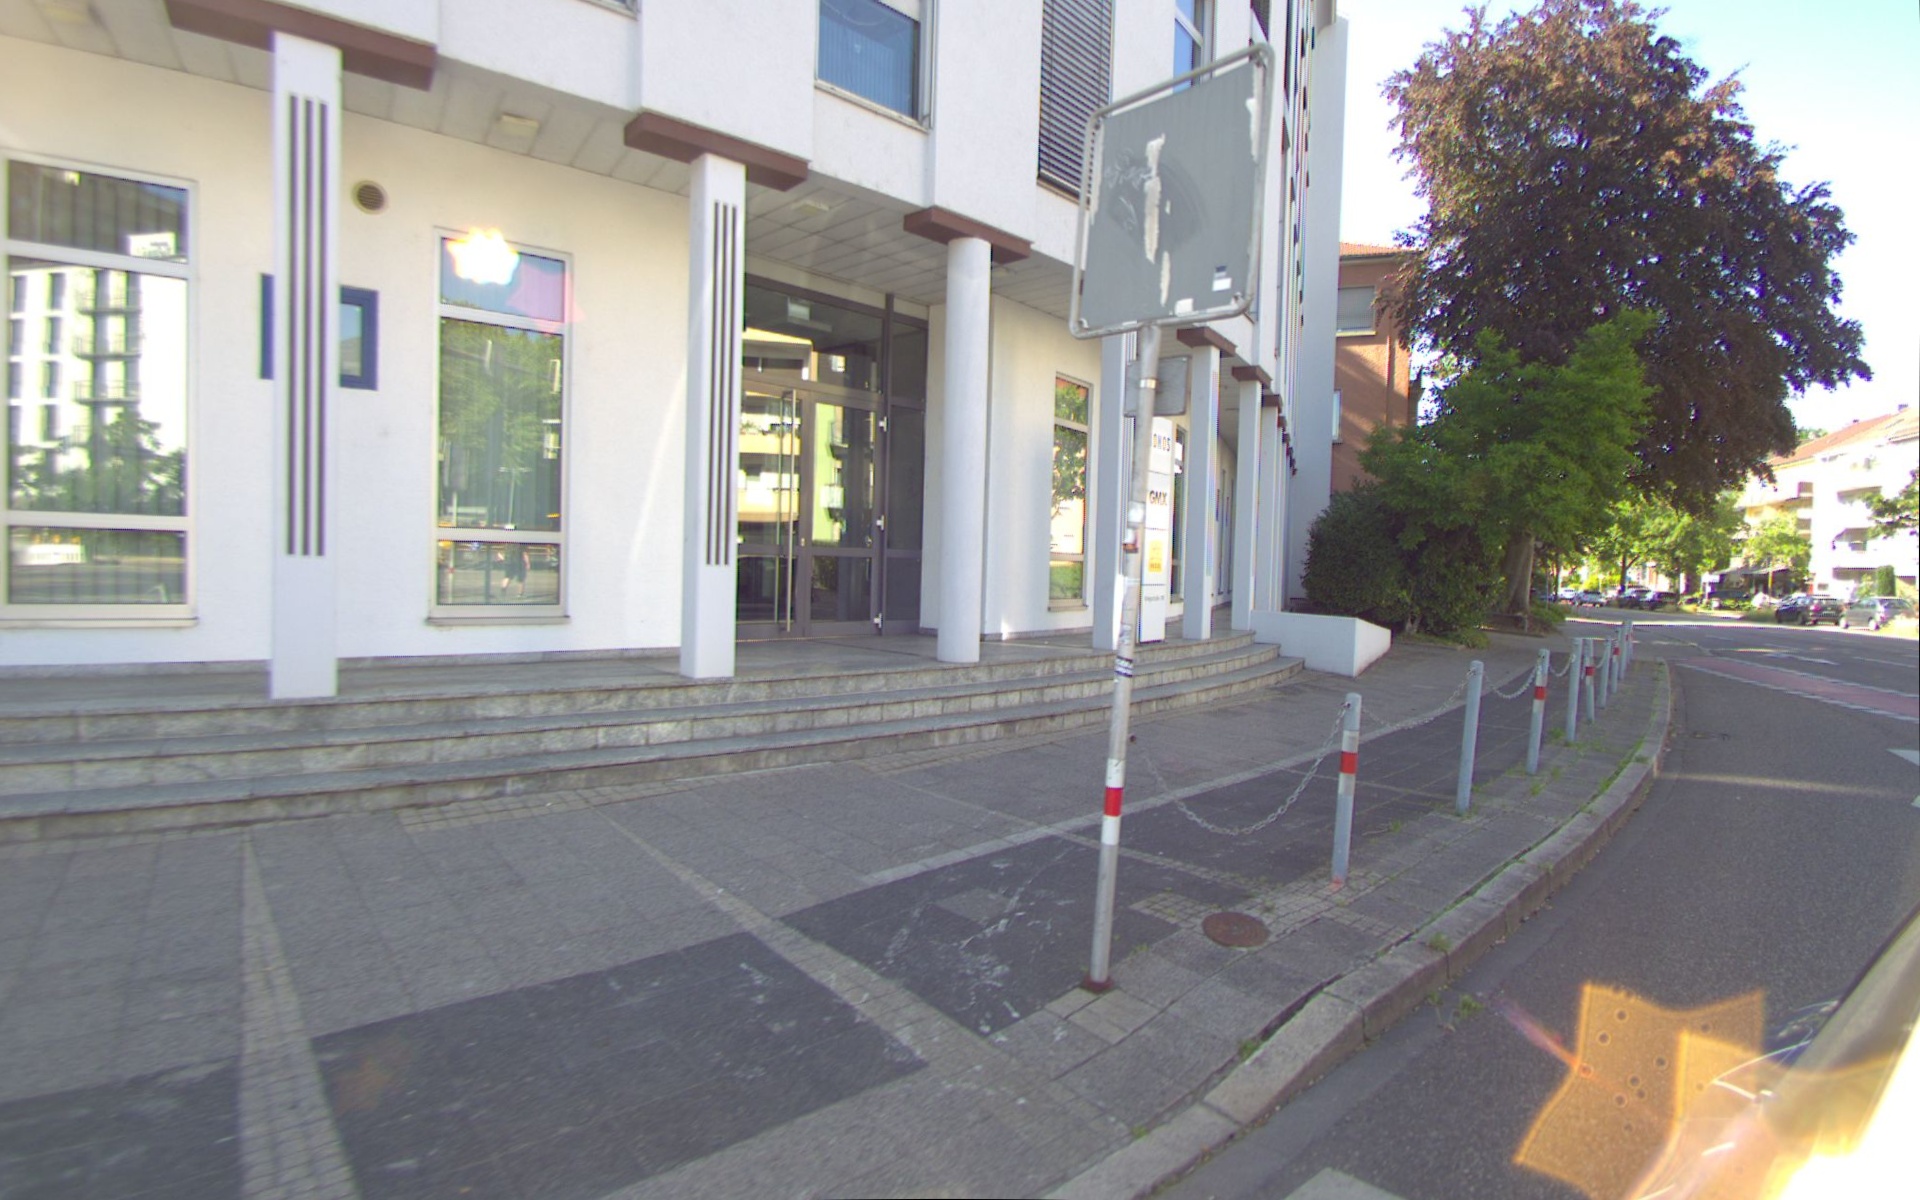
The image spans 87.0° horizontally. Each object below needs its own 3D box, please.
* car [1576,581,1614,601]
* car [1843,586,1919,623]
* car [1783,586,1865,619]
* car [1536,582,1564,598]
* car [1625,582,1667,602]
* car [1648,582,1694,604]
[{"bbox_3d":[52.825,-0.772,84.206,1.783,1.580,4.140,2,2,20],"label":"car"},{"bbox_3d":[41.860,0.166,45.539,1.783,1.581,4.139,-1,0,20],"label":"car"},{"bbox_3d":[43.596,0.118,51.180,1.783,1.581,4.139,-1,0,20],"label":"car"},{"bbox_3d":[60.533,-1.077,103.873,1.783,1.581,4.139,-1,0,20],"label":"car"},{"bbox_3d":[54.330,-0.649,80.221,1.783,1.581,3.897,-1,0,20],"label":"car"},{"bbox_3d":[52.405,-0.535,74.667,1.783,1.581,3.897,-1,0,20],"label":"car"}]
